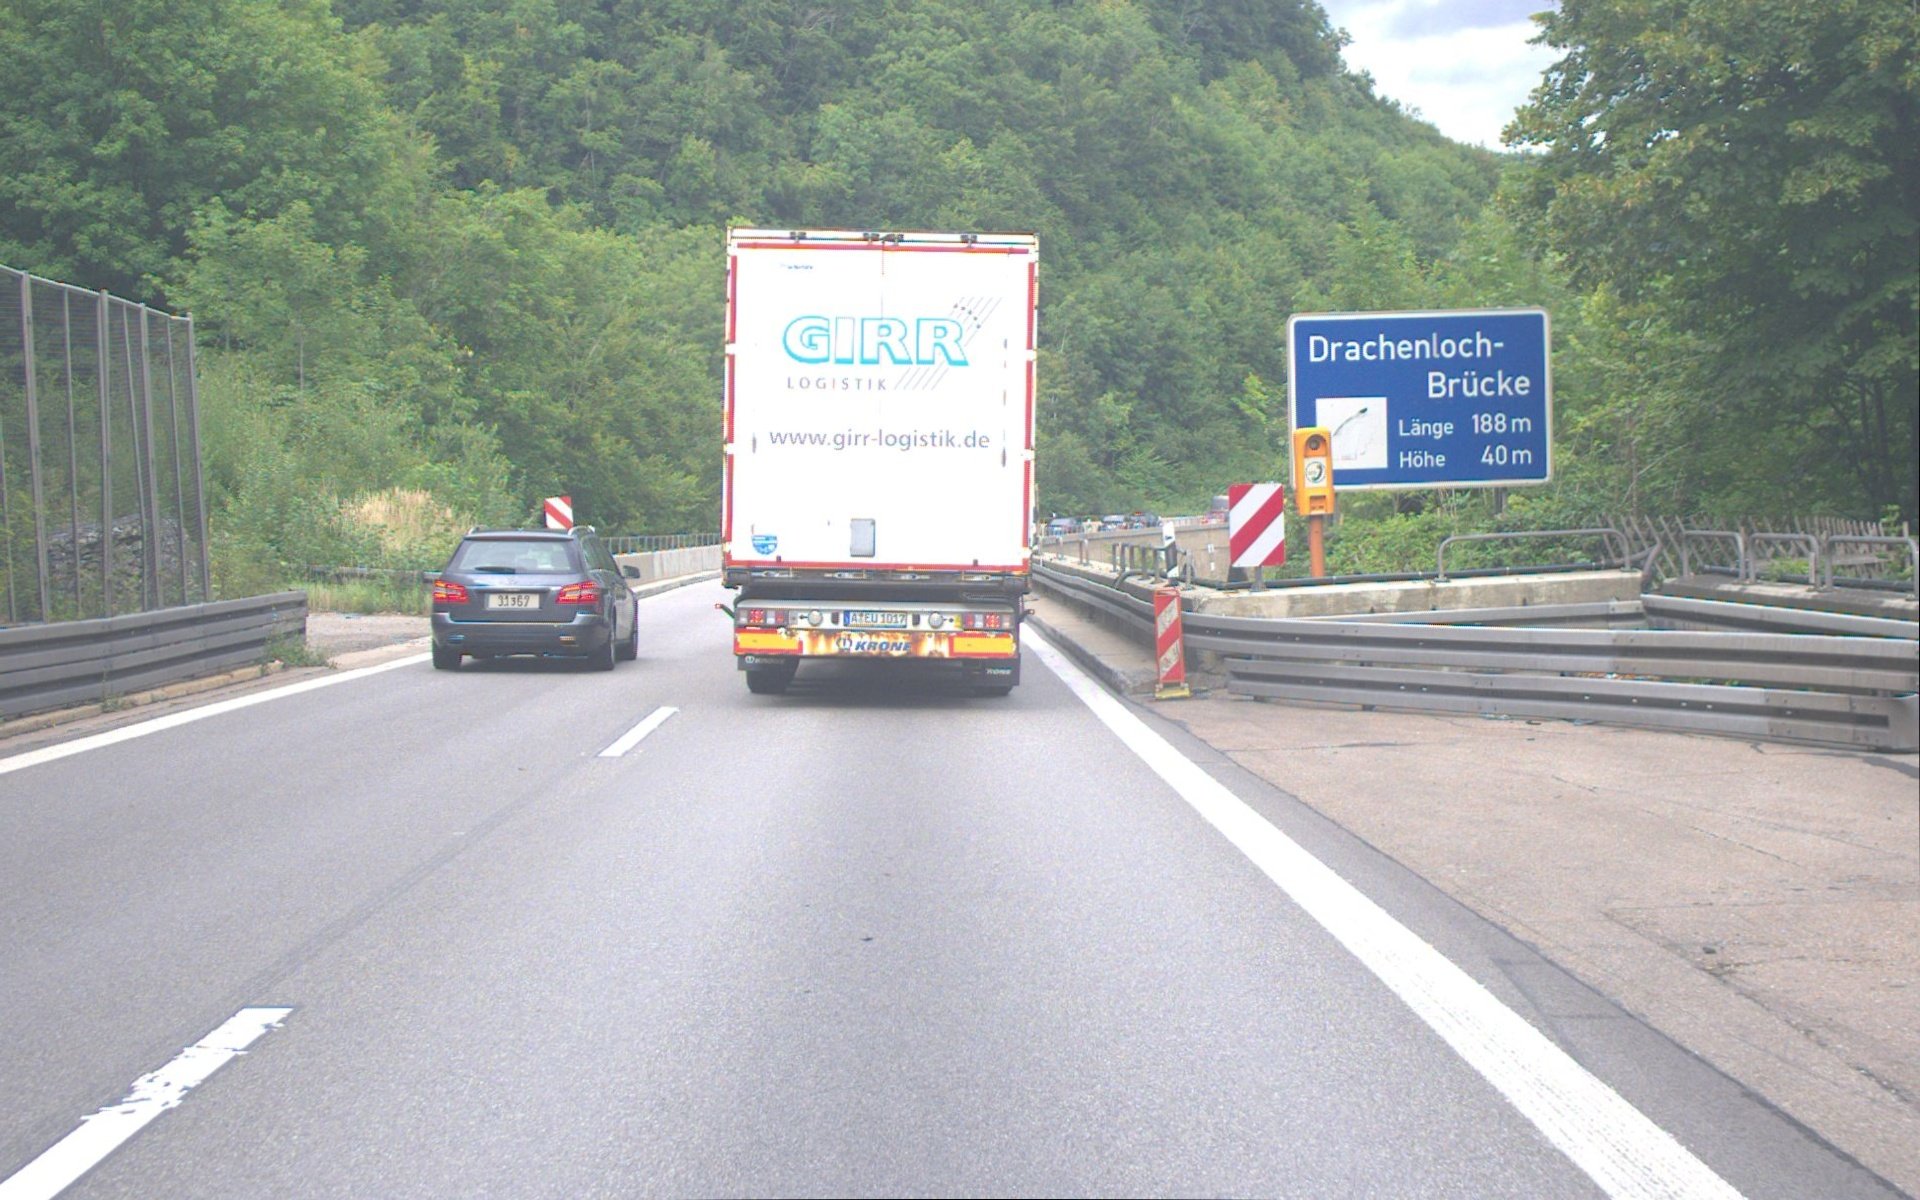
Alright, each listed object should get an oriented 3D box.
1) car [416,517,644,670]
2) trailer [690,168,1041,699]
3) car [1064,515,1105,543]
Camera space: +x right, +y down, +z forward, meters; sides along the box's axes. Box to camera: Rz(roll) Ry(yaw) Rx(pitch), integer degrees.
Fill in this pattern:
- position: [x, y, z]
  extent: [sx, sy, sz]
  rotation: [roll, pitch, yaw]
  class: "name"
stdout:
- position: [-4.475, -0.090, 36.376]
  extent: [1.883, 1.504, 4.419]
  rotation: [0, 1, -1]
  class: "car"
- position: [-0.903, -1.434, 34.026]
  extent: [2.813, 4.288, 12.246]
  rotation: [0, 1, -1]
  class: "trailer"
- position: [7.578, -4.324, 209.158]
  extent: [1.994, 1.678, 3.998]
  rotation: [0, 0, 9]
  class: "car"
